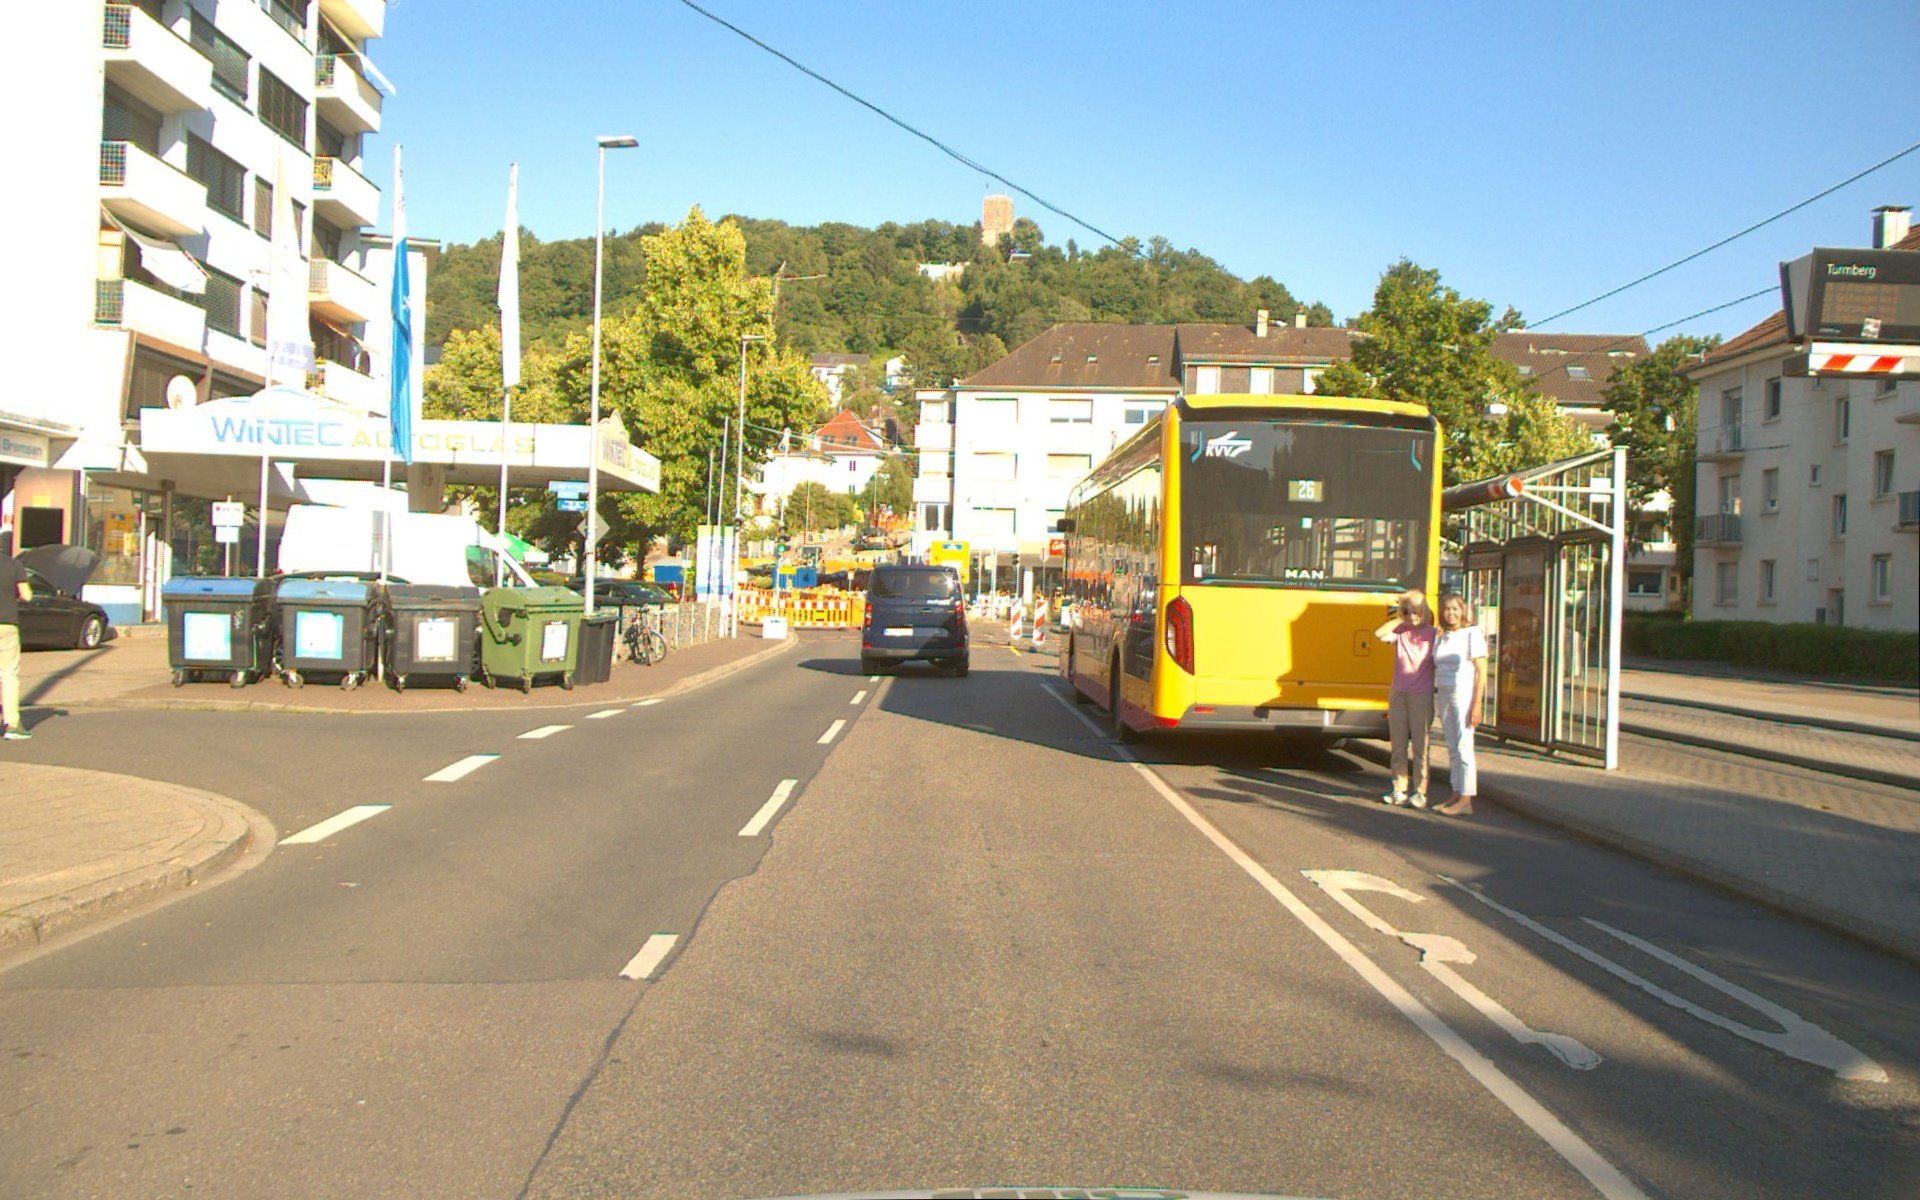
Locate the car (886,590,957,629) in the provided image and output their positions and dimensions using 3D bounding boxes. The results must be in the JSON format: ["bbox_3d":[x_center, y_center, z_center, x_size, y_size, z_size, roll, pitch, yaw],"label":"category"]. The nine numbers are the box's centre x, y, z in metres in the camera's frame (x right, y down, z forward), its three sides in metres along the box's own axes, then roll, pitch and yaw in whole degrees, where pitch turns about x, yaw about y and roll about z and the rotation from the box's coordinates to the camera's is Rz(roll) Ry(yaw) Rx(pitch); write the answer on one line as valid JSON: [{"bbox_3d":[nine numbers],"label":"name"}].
[{"bbox_3d":[-1.524,0.347,64.156,1.766,1.434,3.981,1,0,-17],"label":"car"}]

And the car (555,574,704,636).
[{"bbox_3d":[-9.020,0.116,44.974,4.241,1.480,1.897,3,1,44],"label":"car"}]

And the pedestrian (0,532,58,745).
[{"bbox_3d":[-8.765,0.336,15.140,0.807,1.900,0.789,1,0,-26],"label":"pedestrian"}]

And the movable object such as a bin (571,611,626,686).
[{"bbox_3d":[-5.592,0.743,25.590,0.626,1.088,0.581,2,3,11],"label":"movable object such as a bin"}]

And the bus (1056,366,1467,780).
[{"bbox_3d":[2.936,-0.270,20.164,2.634,3.476,12.017,1,0,-1],"label":"bus"}]

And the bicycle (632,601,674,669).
[{"bbox_3d":[-5.710,0.631,30.782,0.710,1.198,1.777,1,0,-10],"label":"bicycle"}]

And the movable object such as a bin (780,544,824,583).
[{"bbox_3d":[-11.573,-2.695,121.557,2.144,2.737,4.003,1,0,10],"label":"movable object such as a bin"}]

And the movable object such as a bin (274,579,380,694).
[{"bbox_3d":[-8.672,0.493,22.685,1.194,1.508,0.703,1,3,-5],"label":"movable object such as a bin"}]

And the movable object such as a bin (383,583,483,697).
[{"bbox_3d":[-7.306,0.538,22.932,1.205,1.508,0.697,0,3,-30],"label":"movable object such as a bin"}]

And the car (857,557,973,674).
[{"bbox_3d":[-0.820,0.275,31.457,2.020,2.049,4.999,0,0,-1],"label":"car"}]

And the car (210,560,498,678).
[{"bbox_3d":[-9.159,0.277,25.323,3.921,1.595,1.766,2,0,-15],"label":"car"}]

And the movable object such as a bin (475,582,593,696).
[{"bbox_3d":[-6.158,0.533,23.943,1.034,1.508,1.311,3,3,27],"label":"movable object such as a bin"}]

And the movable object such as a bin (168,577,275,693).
[{"bbox_3d":[-10.041,0.463,22.511,1.155,1.508,0.703,1,3,-5],"label":"movable object such as a bin"}]

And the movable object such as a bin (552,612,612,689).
[{"bbox_3d":[-5.701,0.756,24.983,0.646,1.081,0.585,4,2,11],"label":"movable object such as a bin"}]

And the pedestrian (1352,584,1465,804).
[{"bbox_3d":[3.475,0.709,12.829,0.540,1.641,0.627,2,0,-38],"label":"pedestrian"}]

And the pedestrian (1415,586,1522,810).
[{"bbox_3d":[3.839,0.720,12.487,0.540,1.641,0.542,2,0,-38],"label":"pedestrian"}]

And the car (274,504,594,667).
[{"bbox_3d":[-8.980,-0.207,28.296,4.986,2.512,2.094,2,0,-23],"label":"car"}]

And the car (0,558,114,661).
[{"bbox_3d":[-15.981,0.111,27.429,1.731,1.595,4.314,3,1,-2],"label":"car"}]

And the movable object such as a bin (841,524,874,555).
[{"bbox_3d":[-9.618,-5.685,156.118,2.144,2.737,4.003,1,0,10],"label":"movable object such as a bin"}]
